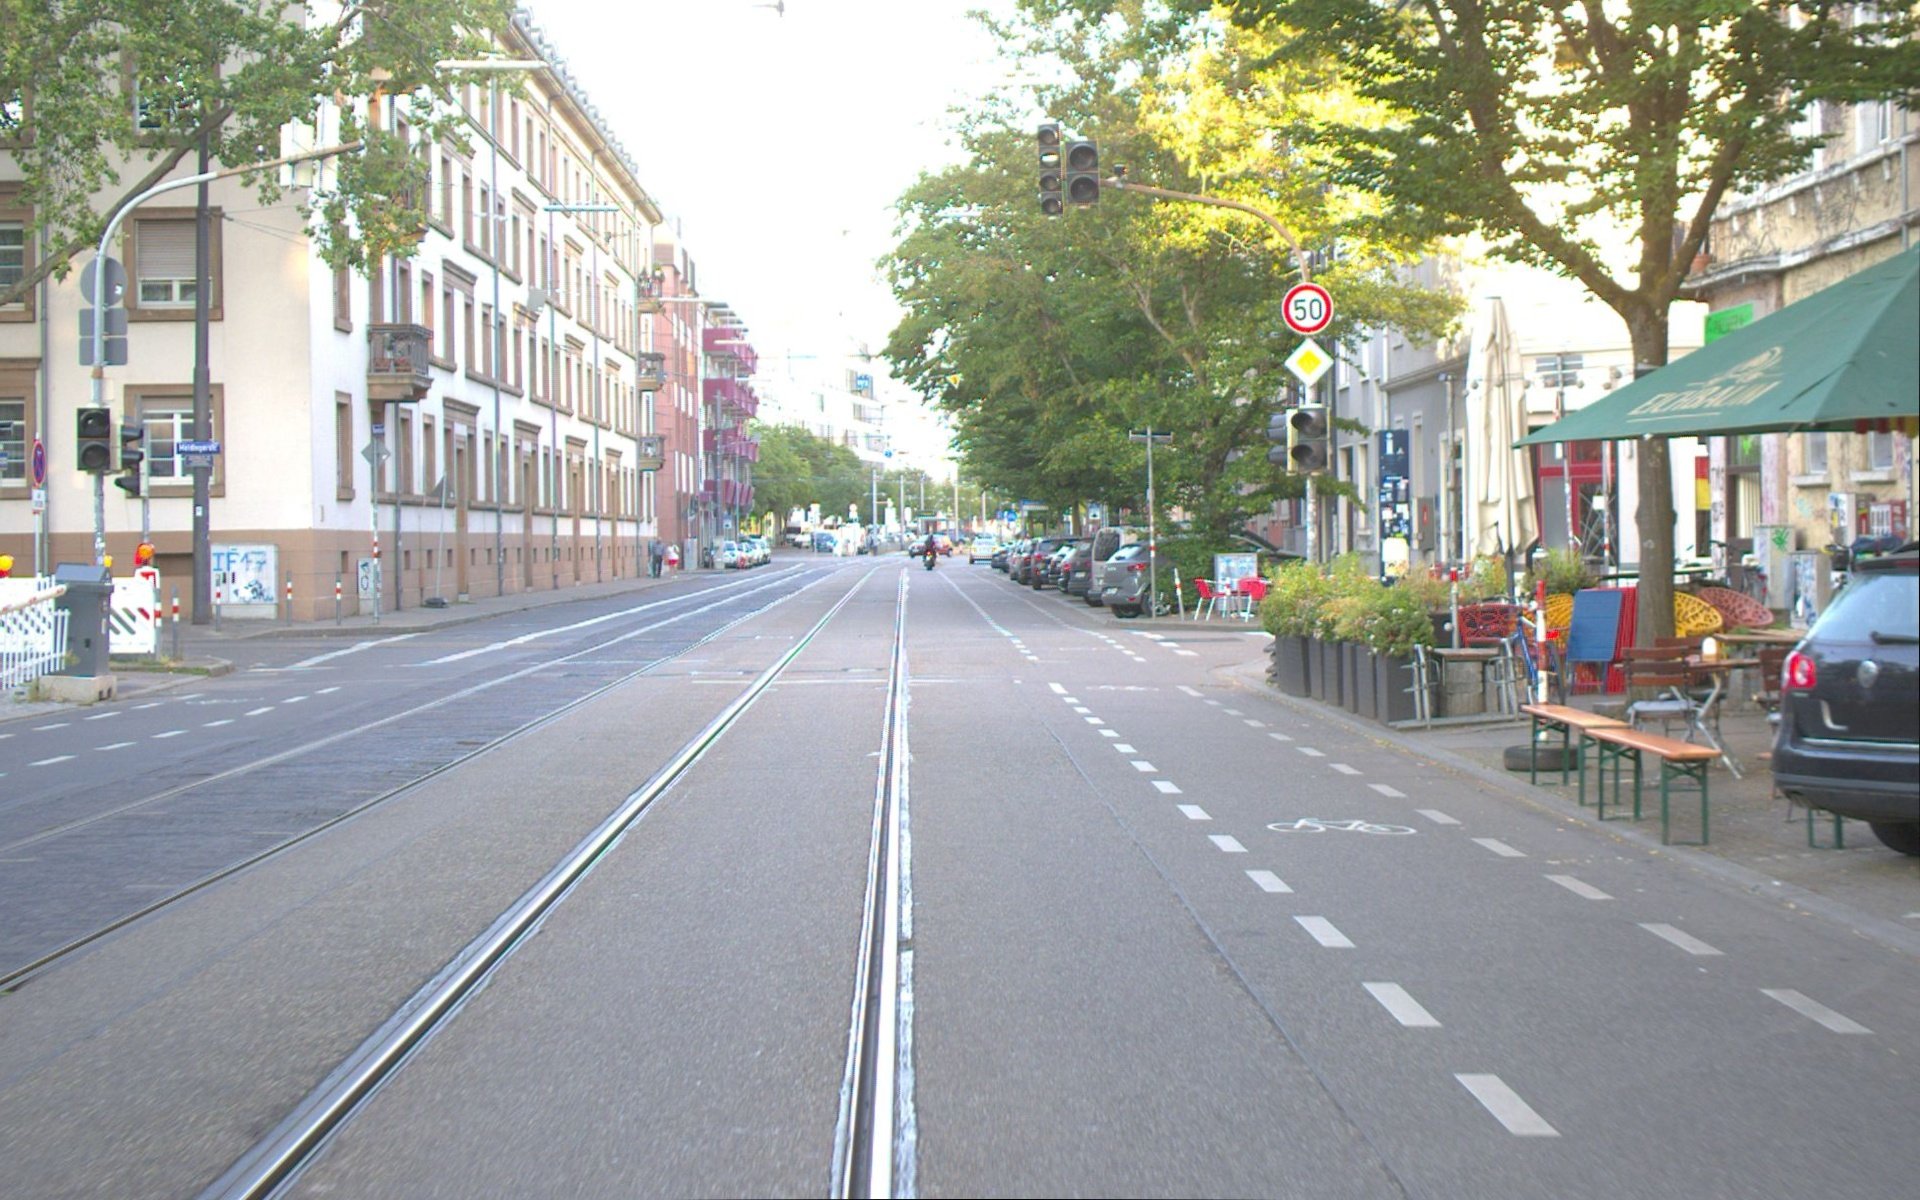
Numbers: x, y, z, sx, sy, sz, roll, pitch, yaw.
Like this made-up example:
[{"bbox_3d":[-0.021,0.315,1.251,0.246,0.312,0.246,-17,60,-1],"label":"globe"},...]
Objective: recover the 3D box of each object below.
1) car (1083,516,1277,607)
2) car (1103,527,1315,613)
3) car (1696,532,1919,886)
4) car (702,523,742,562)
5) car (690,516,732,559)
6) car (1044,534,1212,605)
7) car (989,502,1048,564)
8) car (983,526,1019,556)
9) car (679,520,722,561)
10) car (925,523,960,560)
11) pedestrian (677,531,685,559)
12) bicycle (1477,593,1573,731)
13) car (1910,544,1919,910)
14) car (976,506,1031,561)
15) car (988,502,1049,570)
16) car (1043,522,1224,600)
[{"bbox_3d":[4.487,-0.794,70.535,3.887,1.842,1.861,0,1,0],"label":"car"},{"bbox_3d":[4.686,-0.574,65.160,3.887,1.587,1.861,0,1,0],"label":"car"},{"bbox_3d":[5.726,0.399,15.825,4.174,1.493,2.009,-2,1,-25],"label":"car"},{"bbox_3d":[-12.498,-3.050,180.863,1.898,2.007,4.000,0,1,-1],"label":"car"},{"bbox_3d":[-12.678,-3.181,175.302,1.898,2.171,4.000,0,1,-1],"label":"car"},{"bbox_3d":[3.968,-0.734,81.681,3.887,1.655,1.861,0,1,0],"label":"car"},{"bbox_3d":[1.917,-2.203,113.412,1.804,2.007,4.000,0,1,-1],"label":"car"},{"bbox_3d":[2.405,-3.479,201.454,1.963,1.713,4.000,0,1,-1],"label":"car"},{"bbox_3d":[-12.872,-2.971,170.658,1.898,2.007,4.000,0,1,-1],"label":"car"},{"bbox_3d":[-0.996,-3.261,190.220,1.898,2.007,4.000,0,1,-1],"label":"car"},{"bbox_3d":[-11.285,-2.221,139.164,0.294,1.106,0.252,0,1,-5],"label":"pedestrian"},{"bbox_3d":[4.424,0.467,26.990,0.418,1.012,1.830,0,1,-1],"label":"bicycle"},{"bbox_3d":[6.078,0.450,13.285,4.174,1.457,2.009,-2,1,-16],"label":"car"},{"bbox_3d":[1.592,-2.460,127.190,1.898,2.007,4.000,0,1,-1],"label":"car"},{"bbox_3d":[1.747,-1.942,104.122,1.721,2.007,4.000,0,1,-1],"label":"car"},{"bbox_3d":[3.771,-0.854,75.159,3.887,1.655,1.861,0,1,0],"label":"car"}]
